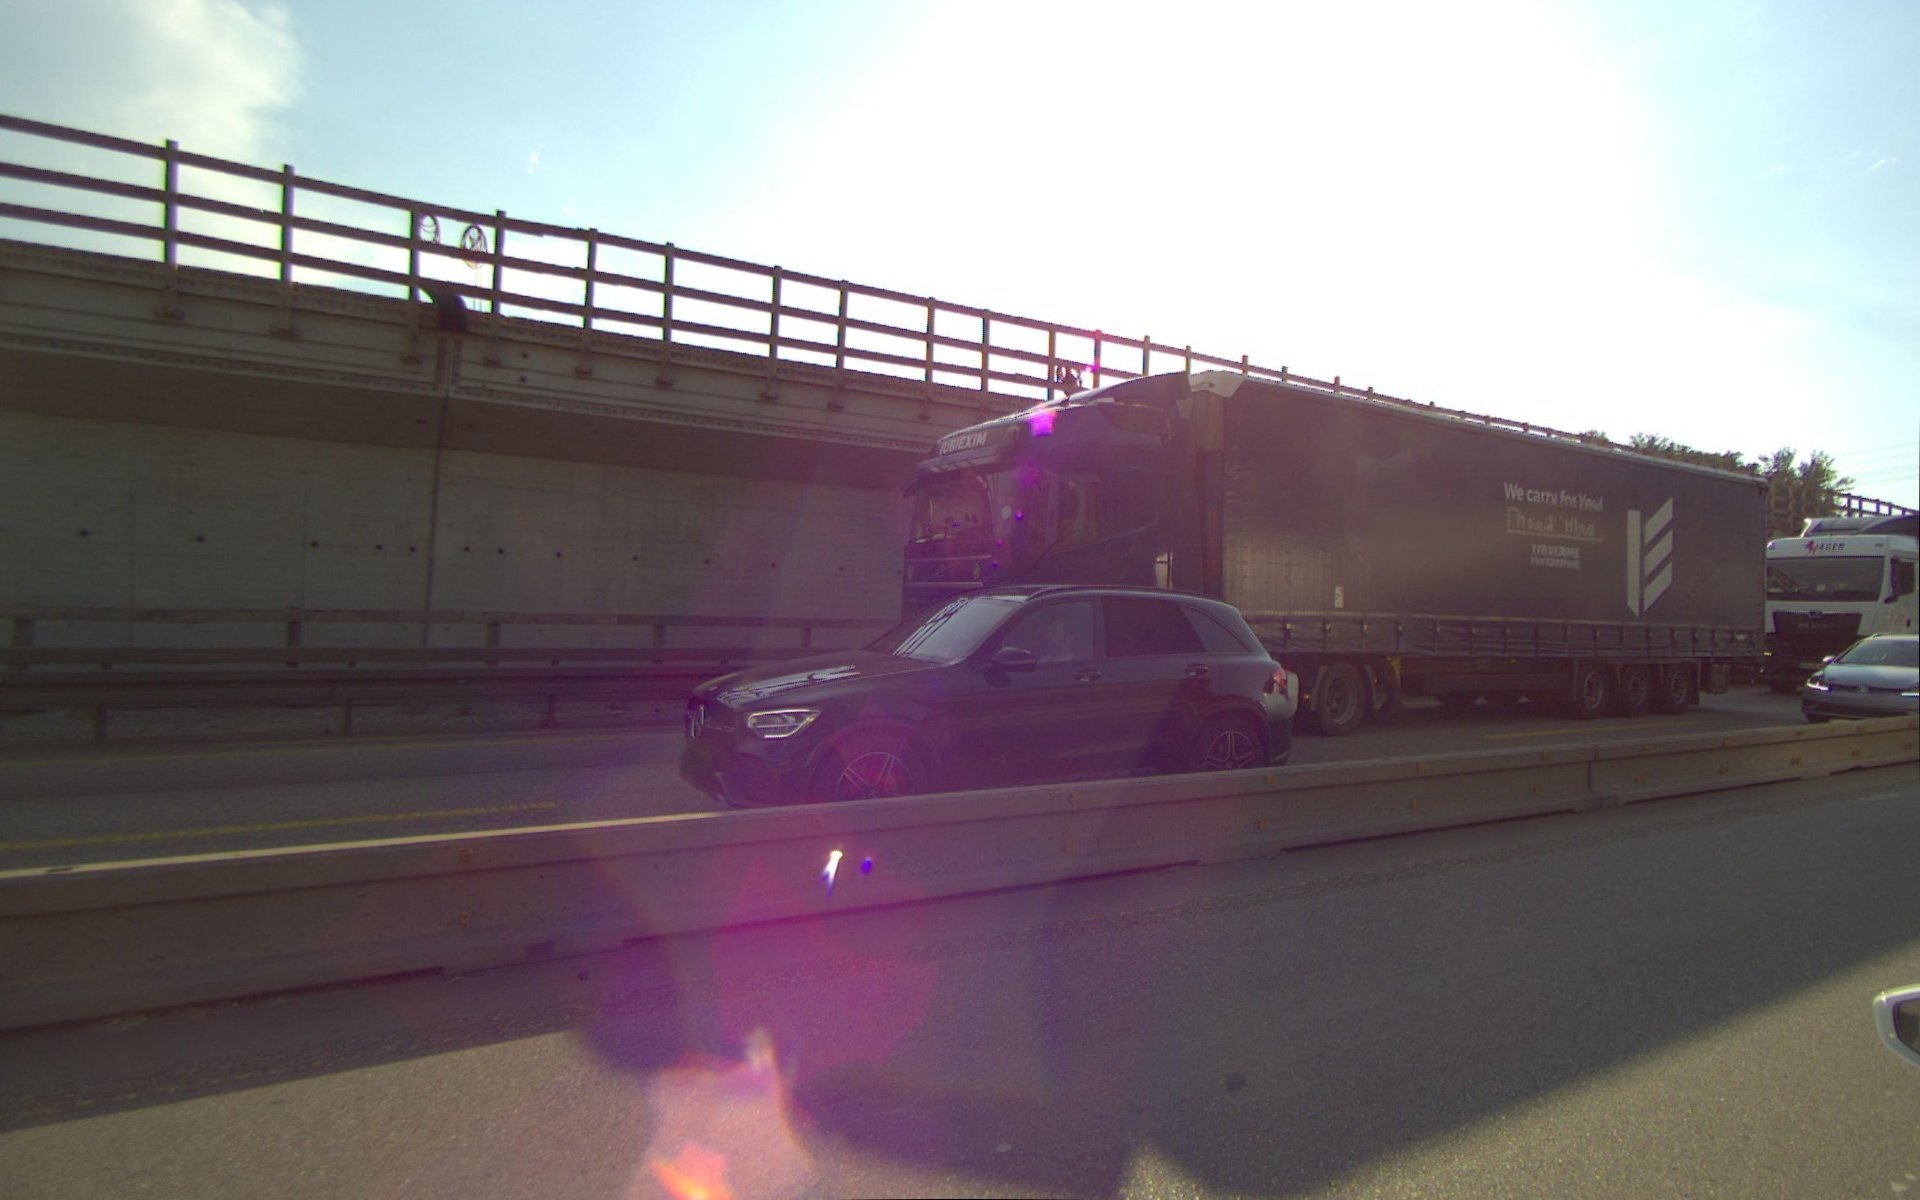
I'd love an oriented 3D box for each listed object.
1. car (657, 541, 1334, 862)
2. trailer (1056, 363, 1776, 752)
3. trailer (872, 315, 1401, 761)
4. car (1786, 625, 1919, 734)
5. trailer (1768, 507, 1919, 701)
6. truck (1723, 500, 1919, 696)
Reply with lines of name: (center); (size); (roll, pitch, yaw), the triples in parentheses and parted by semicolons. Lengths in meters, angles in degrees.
car: (0.423, 0.609, 7.125); (4.636, 1.666, 1.632); (3, 0, -31)
trailer: (7.921, -0.354, 15.594); (13.863, 4.197, 2.750); (1, 0, -31)
trailer: (2.213, -0.544, 12.152); (5.907, 4.197, 2.751); (1, 0, -31)
car: (15.066, 1.227, 16.004); (4.547, 1.478, 1.631); (3, -1, -33)
trailer: (26.376, 0.334, 26.881); (13.613, 4.296, 2.898); (3, 0, -31)
truck: (20.861, 0.054, 23.511); (5.594, 4.061, 2.846); (2, 0, -31)
